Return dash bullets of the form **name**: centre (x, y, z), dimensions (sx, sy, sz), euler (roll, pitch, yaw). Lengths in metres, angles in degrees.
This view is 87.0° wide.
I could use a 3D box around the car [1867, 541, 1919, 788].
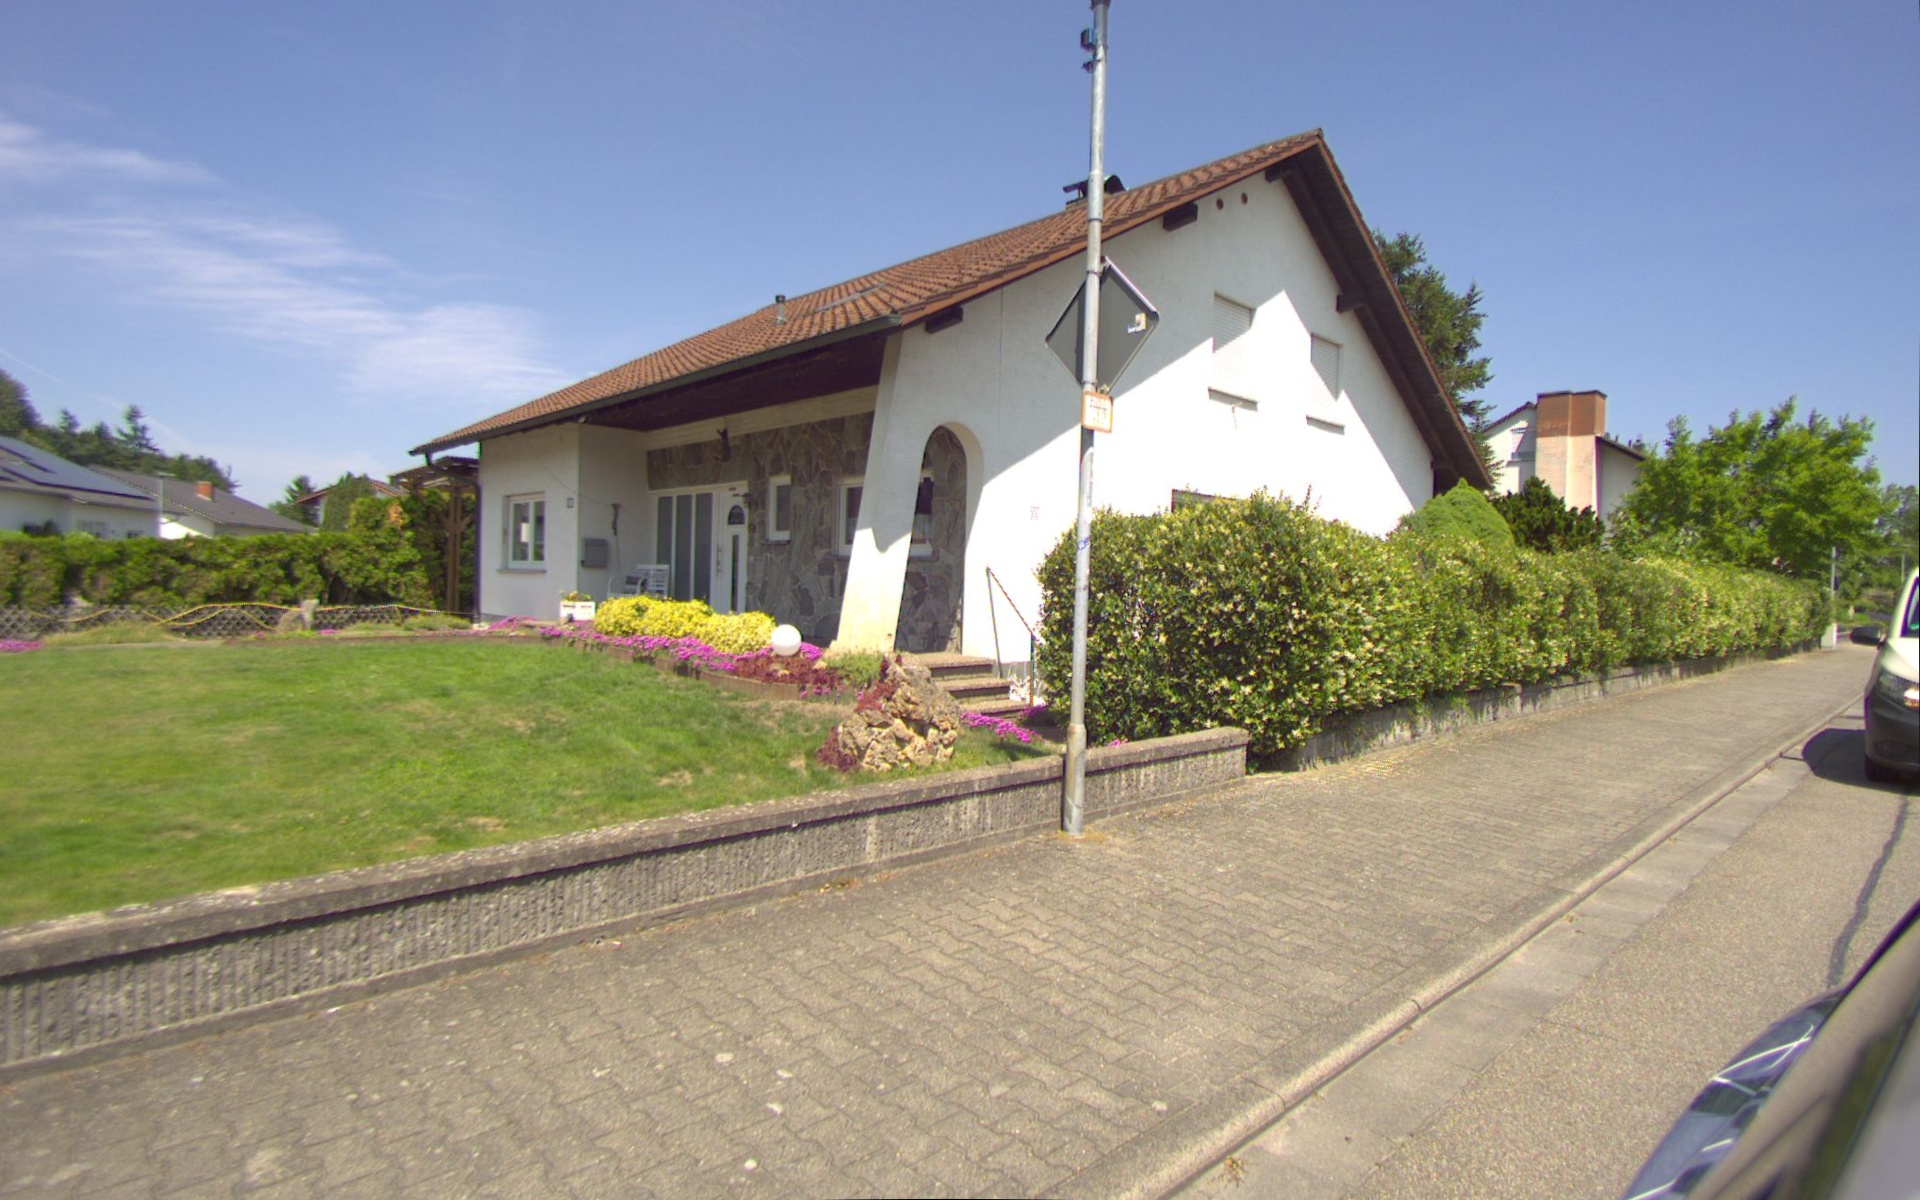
- **car**: centre (9.623, 0.515, 8.870), dimensions (4.982, 1.879, 2.016), euler (0, 2, -43)
